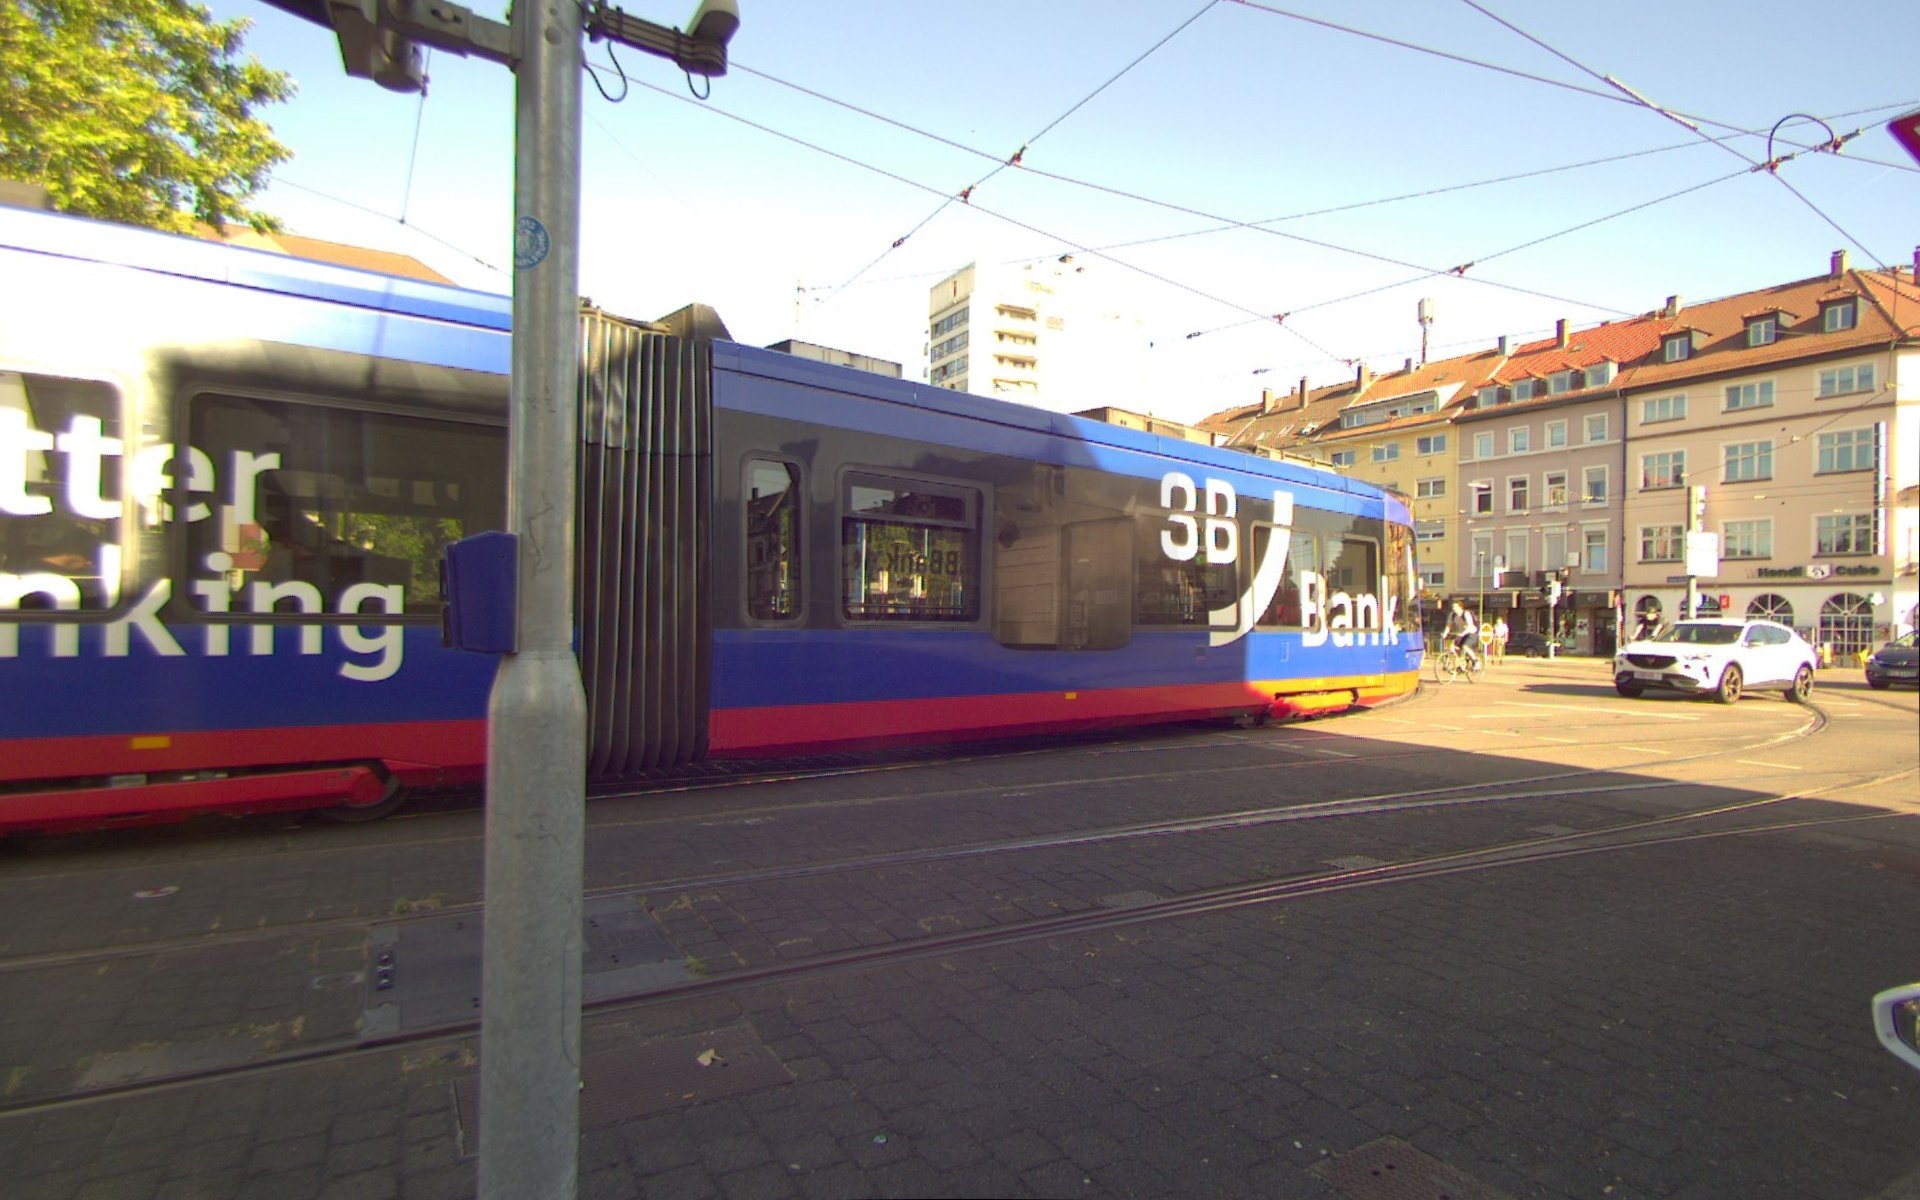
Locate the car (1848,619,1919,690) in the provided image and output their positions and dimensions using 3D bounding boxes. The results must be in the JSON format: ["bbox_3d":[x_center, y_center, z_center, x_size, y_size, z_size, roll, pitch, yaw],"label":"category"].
[{"bbox_3d":[22.613,1.238,23.051,4.512,1.517,1.768,1,-1,-26],"label":"car"}]

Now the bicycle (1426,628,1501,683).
[{"bbox_3d":[11.312,1.242,22.559,2.032,1.181,0.483,1,-1,-31],"label":"bicycle"}]

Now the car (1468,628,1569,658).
[{"bbox_3d":[30.567,2.327,55.090,1.725,1.459,4.614,2,-1,-32],"label":"car"}]

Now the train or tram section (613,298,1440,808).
[{"bbox_3d":[2.119,-0.200,12.506,12.034,3.661,3.025,2,-1,-44],"label":"train or tram section"}]

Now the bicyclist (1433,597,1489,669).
[{"bbox_3d":[11.285,0.737,22.632,0.975,1.580,0.711,1,-1,-30],"label":"bicyclist"}]

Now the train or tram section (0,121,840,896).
[{"bbox_3d":[-6.808,-0.459,5.001,12.377,3.661,3.035,2,-1,-35],"label":"train or tram section"}]

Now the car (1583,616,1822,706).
[{"bbox_3d":[14.021,1.088,18.946,4.292,1.517,1.986,1,-1,-28],"label":"car"}]

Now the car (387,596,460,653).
[{"bbox_3d":[-15.320,0.673,28.603,1.697,1.506,4.185,1,-1,-30],"label":"car"}]

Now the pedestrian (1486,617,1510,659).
[{"bbox_3d":[21.736,1.537,40.590,0.713,1.648,0.672,1,-1,14],"label":"pedestrian"}]

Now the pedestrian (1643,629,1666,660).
[{"bbox_3d":[35.132,2.239,50.838,0.683,1.544,0.658,1,-1,-15],"label":"pedestrian"}]
